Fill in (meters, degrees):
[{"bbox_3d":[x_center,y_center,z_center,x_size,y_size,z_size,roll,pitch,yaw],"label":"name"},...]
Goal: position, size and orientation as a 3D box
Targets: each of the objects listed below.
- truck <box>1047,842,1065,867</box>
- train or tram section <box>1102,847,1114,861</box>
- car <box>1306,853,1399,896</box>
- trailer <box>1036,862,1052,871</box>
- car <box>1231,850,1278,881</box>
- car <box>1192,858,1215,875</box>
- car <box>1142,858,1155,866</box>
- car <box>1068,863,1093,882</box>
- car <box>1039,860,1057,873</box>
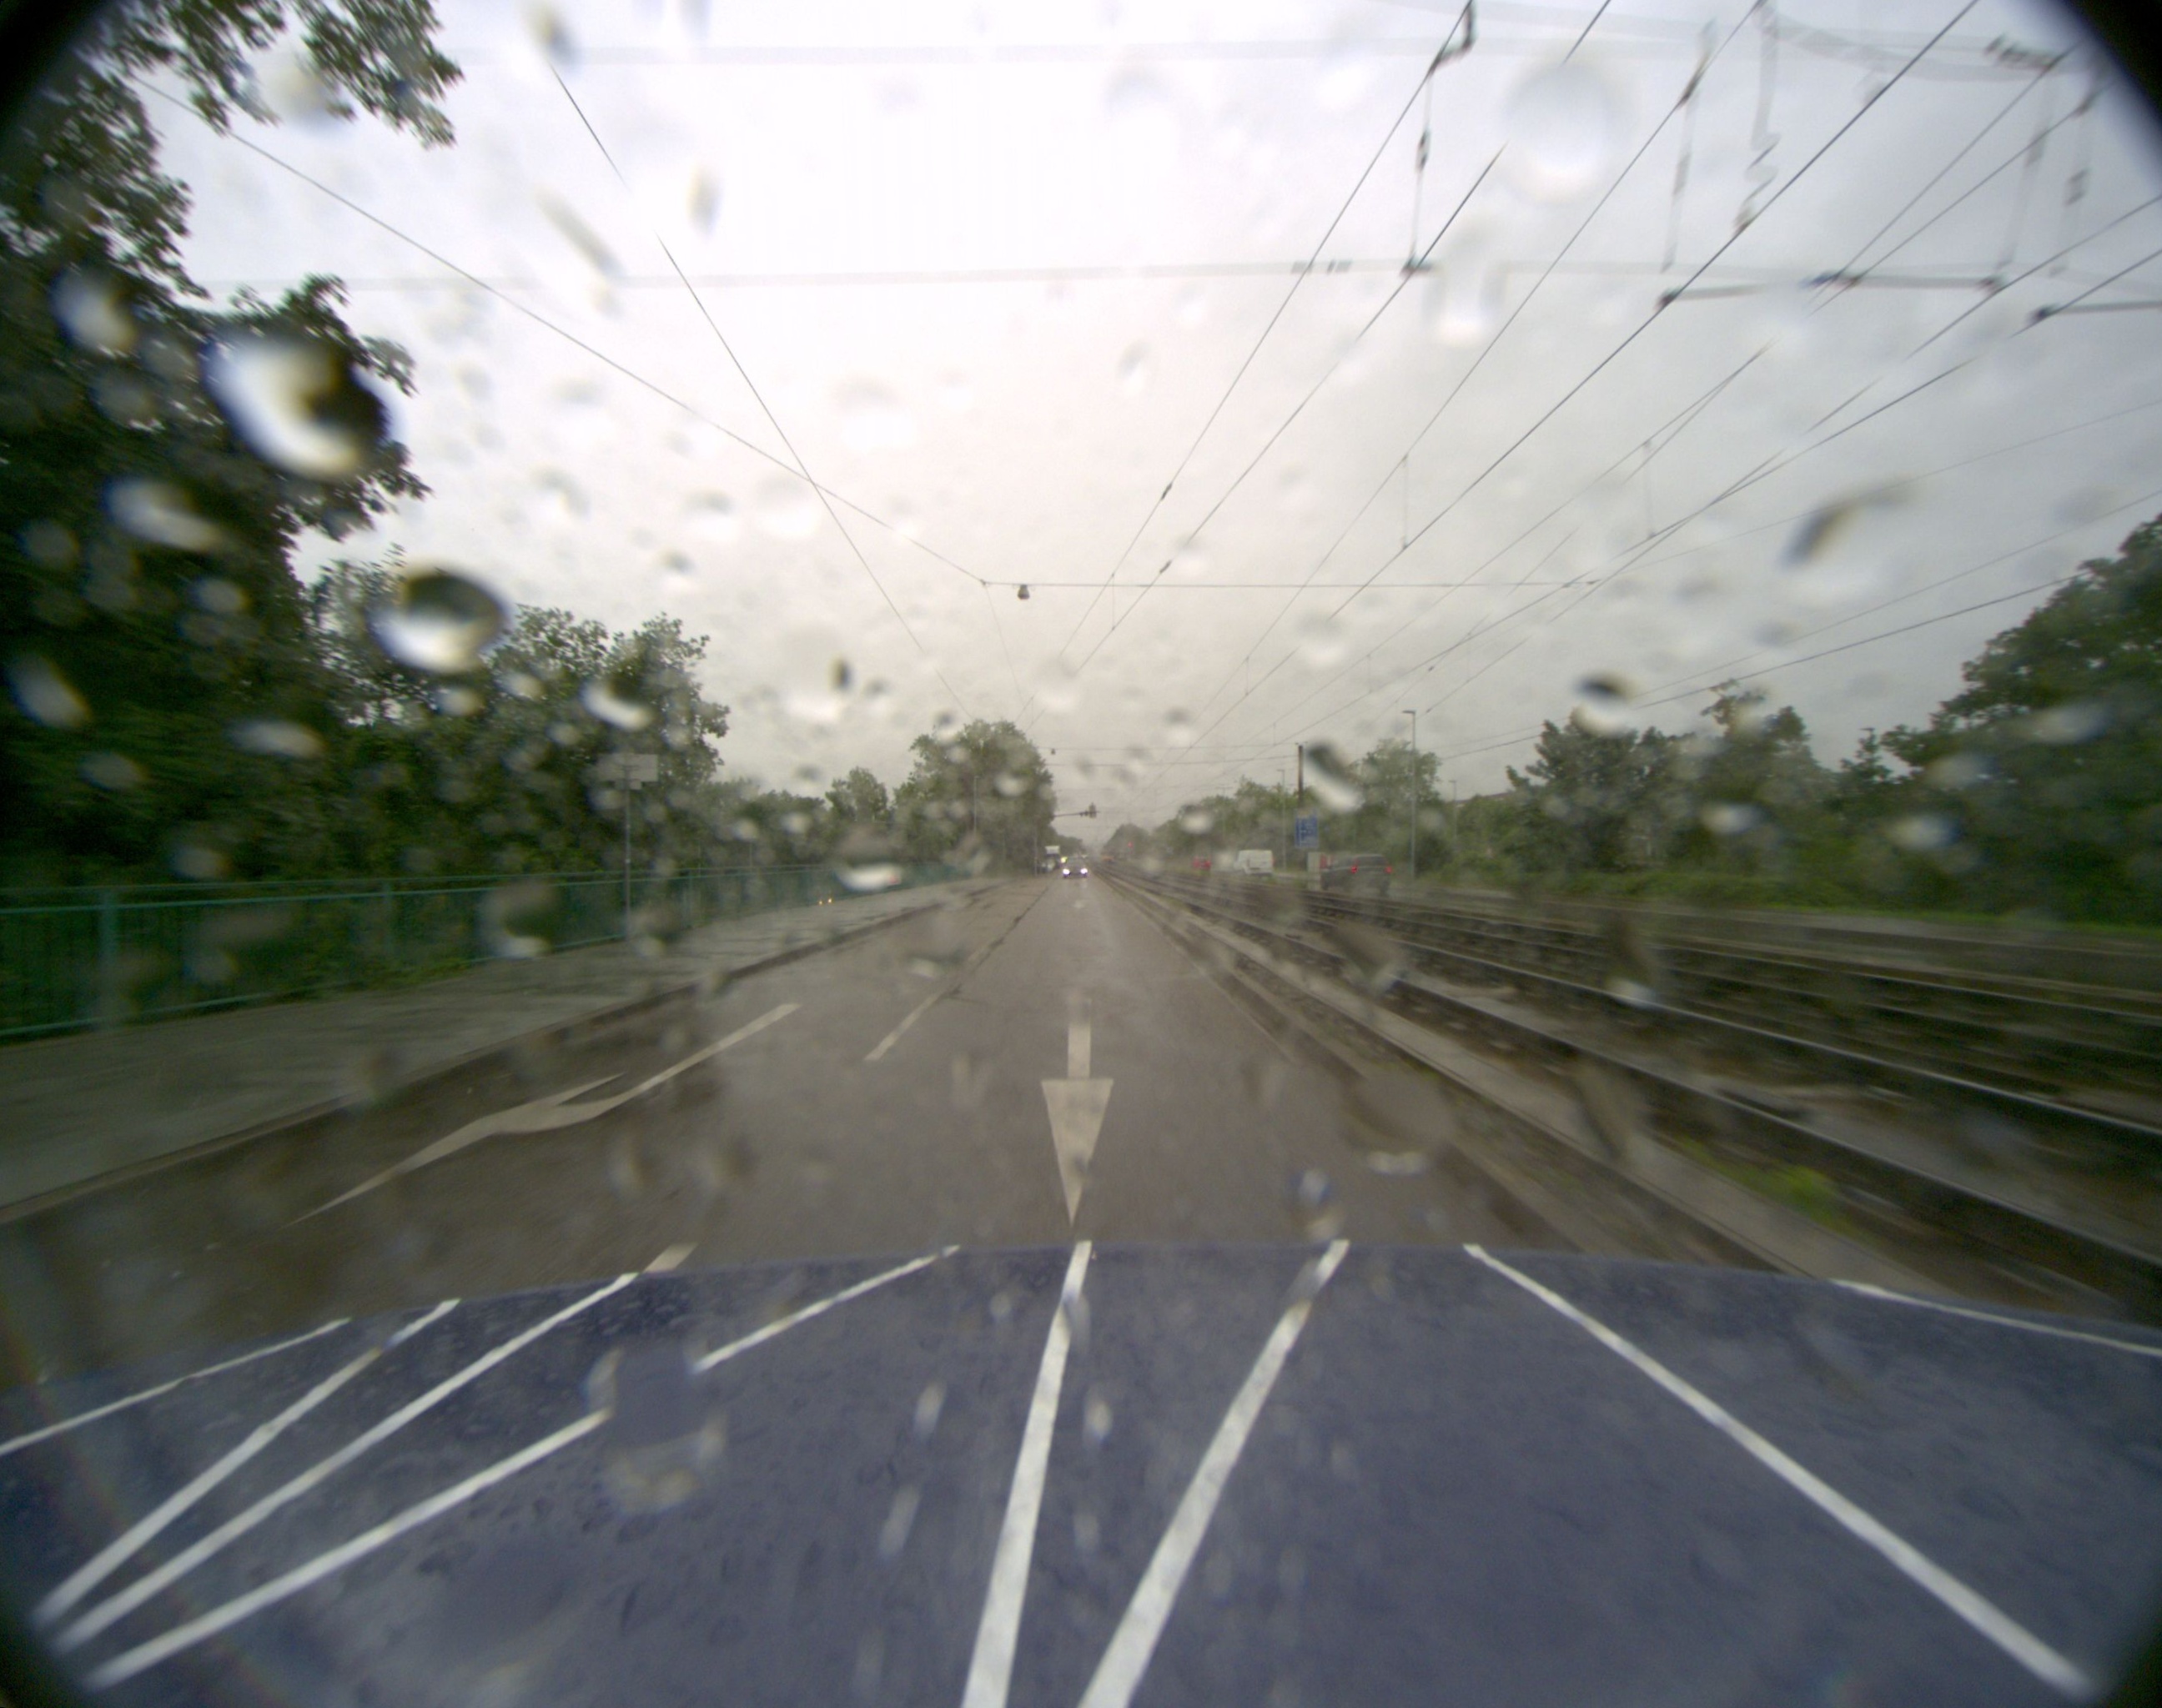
[{"bbox_3d":[-4.145,0.142,127.694,2.567,3.847,7.846,-2,-1,0],"label":"truck"},{"bbox_3d":[7.347,0.027,205.597,2.460,3.603,15.104,-2,0,0],"label":"train or tram section"},{"bbox_3d":[11.628,0.831,33.001,1.999,1.639,5.371,-2,0,0],"label":"car"},{"bbox_3d":[-4.173,1.379,85.770,1.546,0.931,3.276,-2,-1,0],"label":"trailer"},{"bbox_3d":[12.106,0.769,53.375,1.999,2.032,5.028,-2,0,0],"label":"car"},{"bbox_3d":[12.655,1.295,78.889,1.728,1.591,3.650,-2,0,0],"label":"car"},{"bbox_3d":[13.589,1.551,152.234,1.999,1.514,4.956,-2,0,-1],"label":"car"},{"bbox_3d":[-0.044,1.507,63.267,1.999,1.497,4.196,-2,-1,0],"label":"car"},{"bbox_3d":[-4.013,1.504,92.293,1.999,1.394,4.196,-2,-1,0],"label":"car"}]
